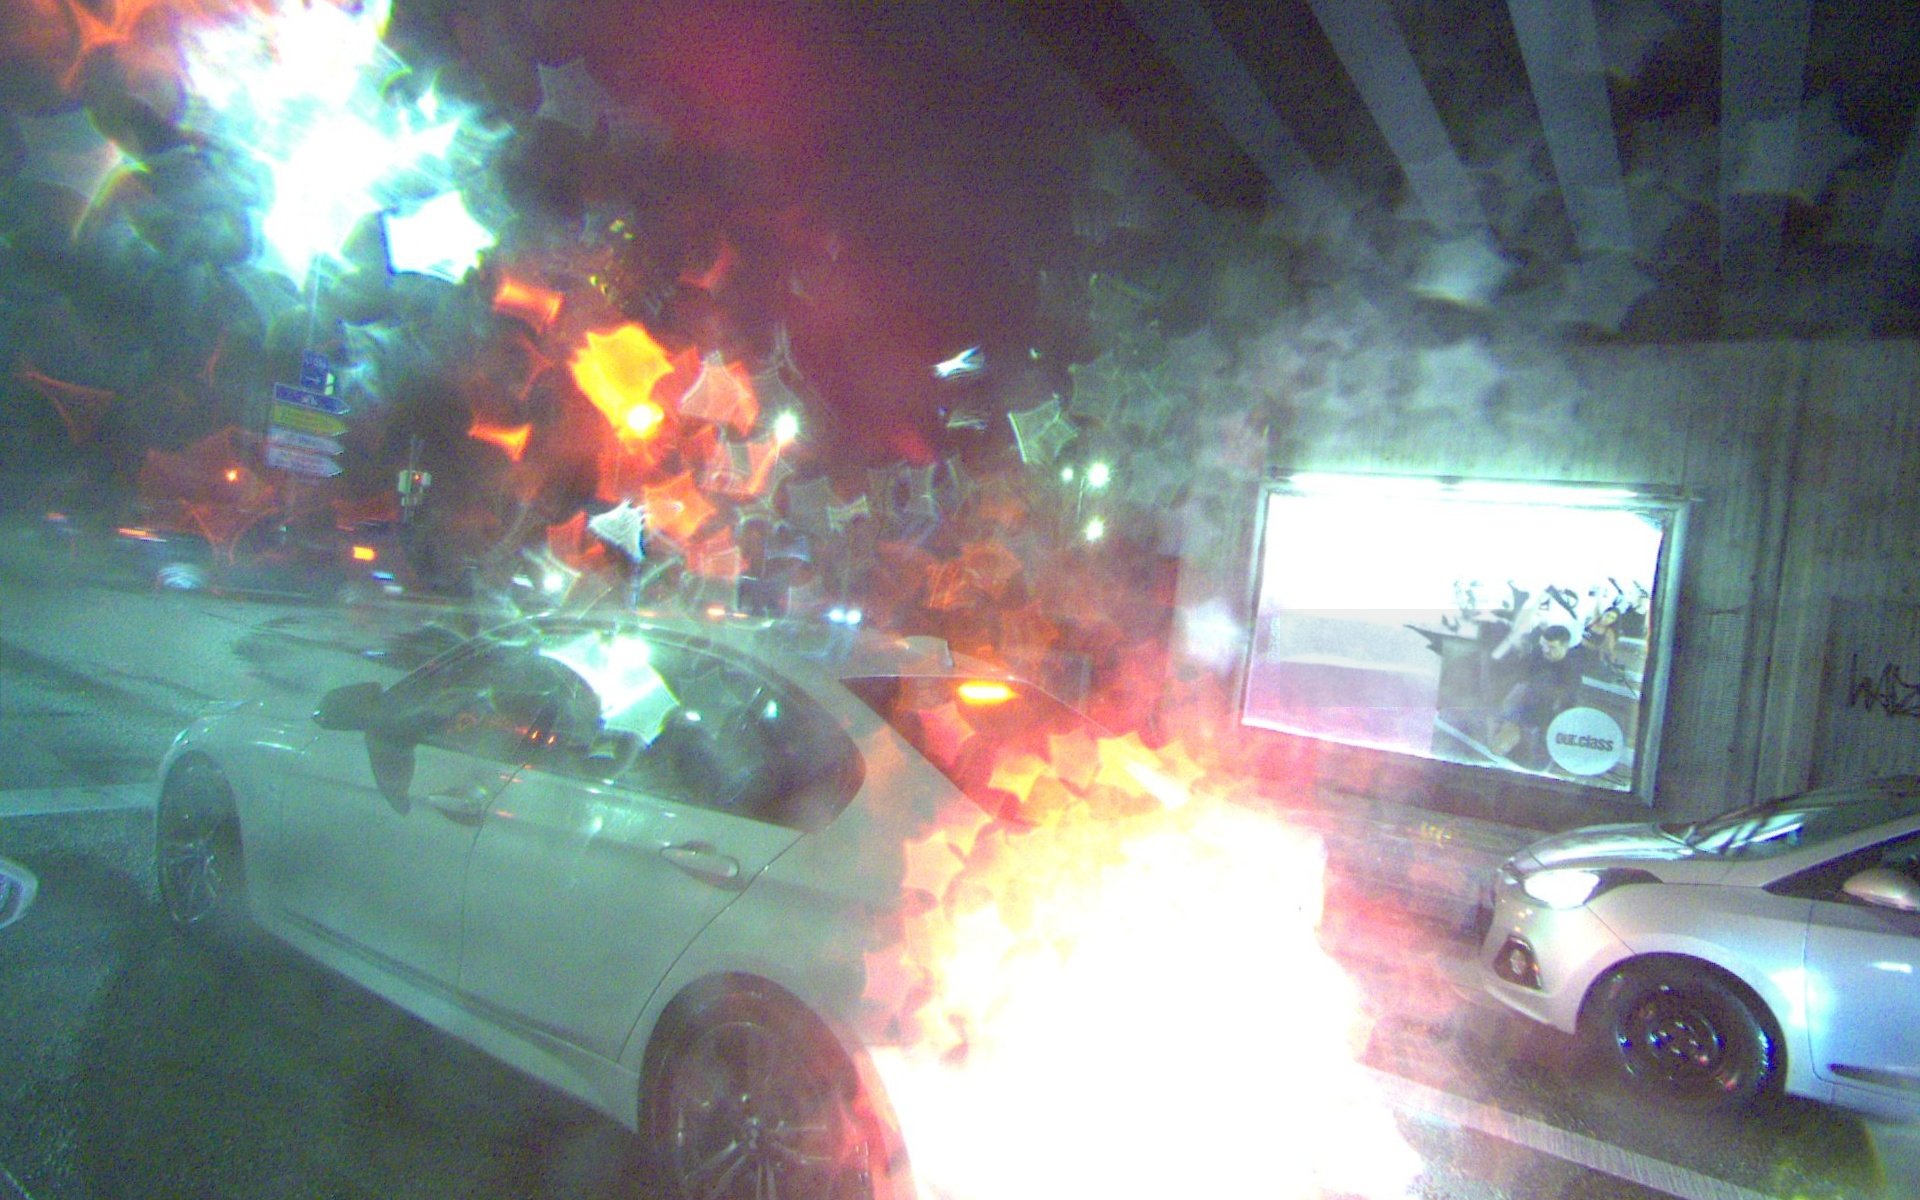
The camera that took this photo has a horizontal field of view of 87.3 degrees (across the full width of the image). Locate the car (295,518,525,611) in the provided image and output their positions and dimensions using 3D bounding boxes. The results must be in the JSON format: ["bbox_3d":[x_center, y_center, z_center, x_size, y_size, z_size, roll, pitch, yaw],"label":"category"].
[{"bbox_3d":[-13.438,-0.821,24.845,1.879,1.637,4.500,6,-2,37],"label":"car"}]

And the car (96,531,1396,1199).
[{"bbox_3d":[-0.983,0.716,3.506,4.309,1.465,1.722,6,0,31],"label":"car"}]

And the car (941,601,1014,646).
[{"bbox_3d":[0.872,1.129,46.661,1.806,1.690,4.465,6,-2,21],"label":"car"}]

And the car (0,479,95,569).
[{"bbox_3d":[-27.168,-2.259,28.435,3.605,2.241,2.198,8,-1,-31],"label":"car"}]

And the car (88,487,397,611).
[{"bbox_3d":[-13.666,-0.910,19.386,1.931,1.692,4.399,6,-2,40],"label":"car"}]

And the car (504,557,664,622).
[{"bbox_3d":[-12.881,-0.326,34.746,1.826,1.608,4.850,6,-2,38],"label":"car"}]

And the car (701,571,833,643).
[{"bbox_3d":[-5.848,0.257,30.907,1.695,1.754,3.757,6,-2,33],"label":"car"}]

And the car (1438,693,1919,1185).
[{"bbox_3d":[4.277,1.399,3.954,4.092,1.465,1.722,6,0,31],"label":"car"}]
